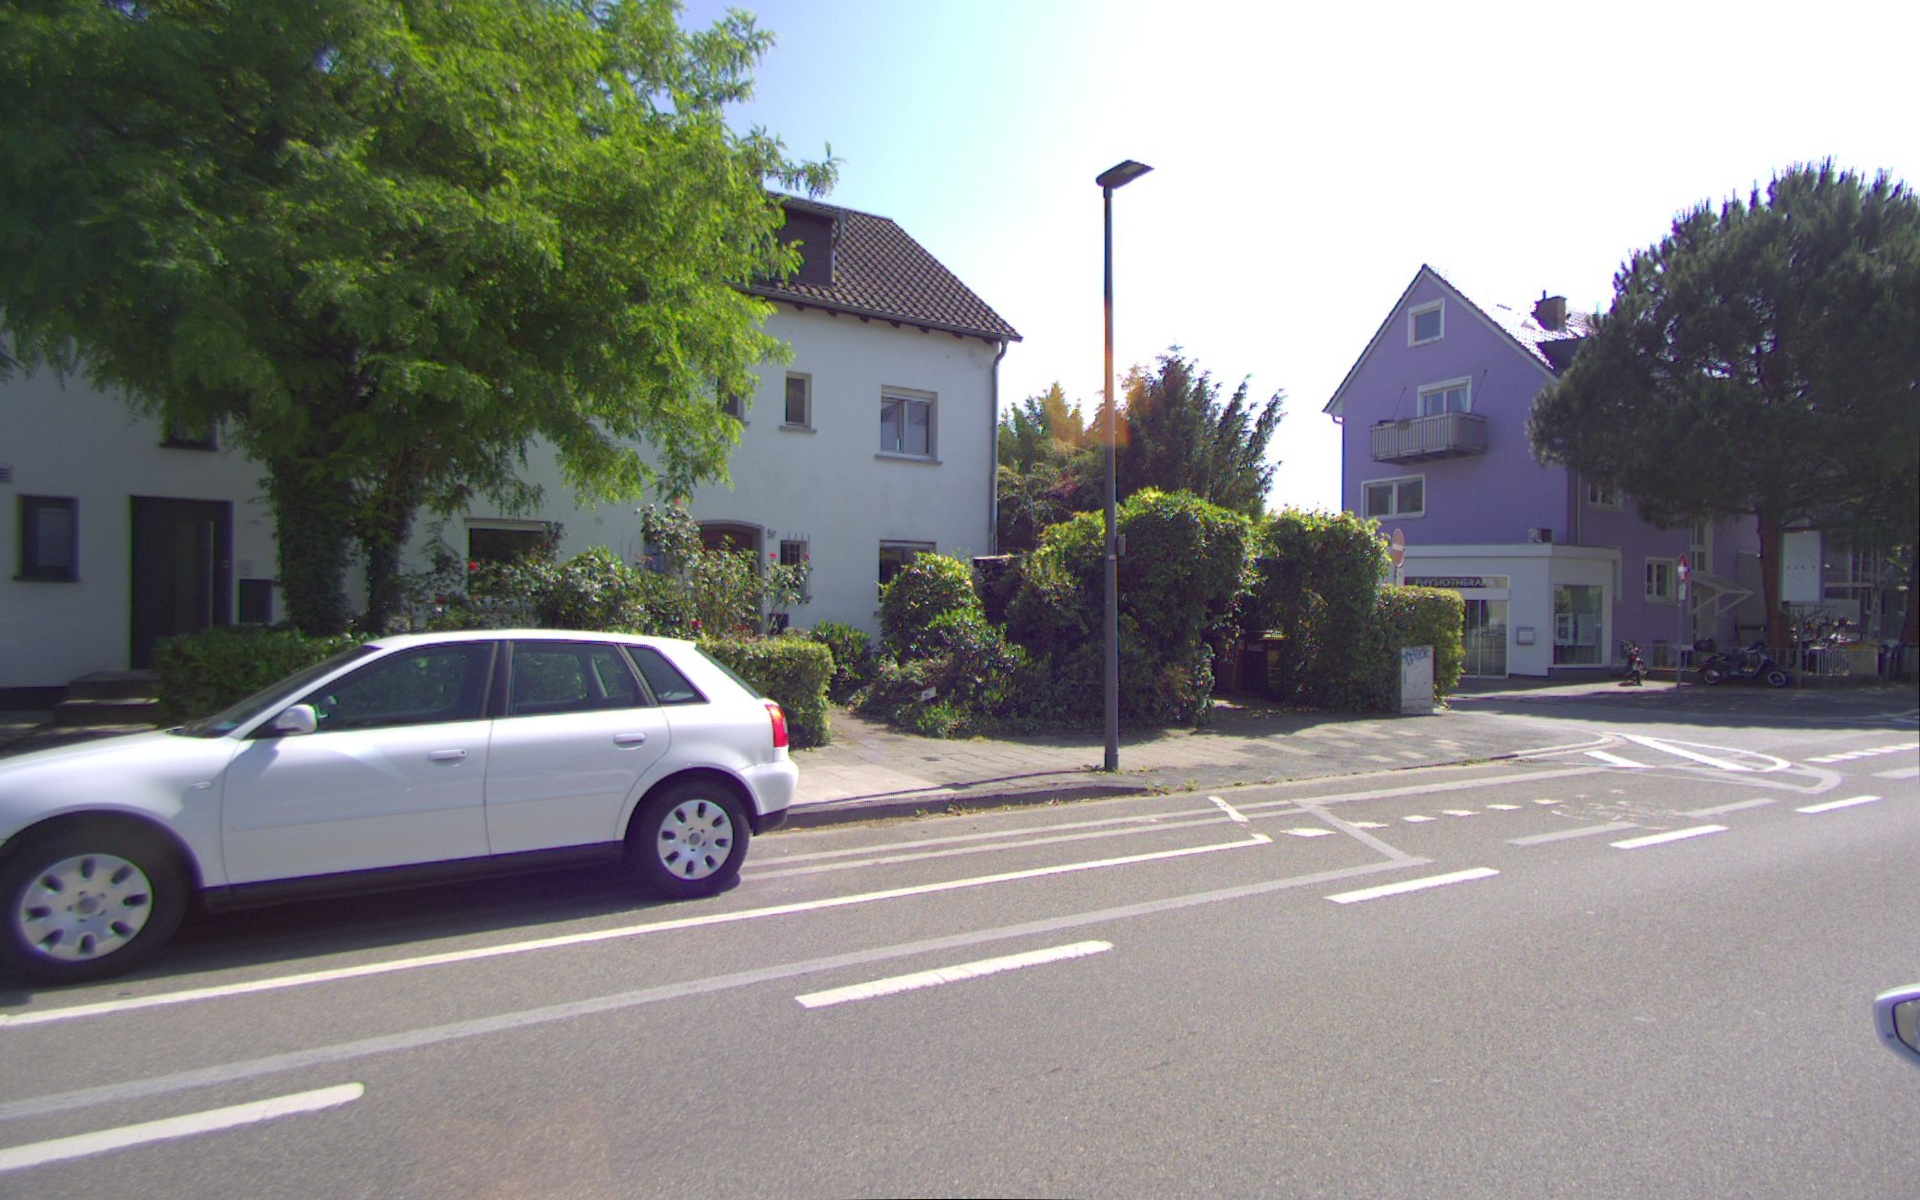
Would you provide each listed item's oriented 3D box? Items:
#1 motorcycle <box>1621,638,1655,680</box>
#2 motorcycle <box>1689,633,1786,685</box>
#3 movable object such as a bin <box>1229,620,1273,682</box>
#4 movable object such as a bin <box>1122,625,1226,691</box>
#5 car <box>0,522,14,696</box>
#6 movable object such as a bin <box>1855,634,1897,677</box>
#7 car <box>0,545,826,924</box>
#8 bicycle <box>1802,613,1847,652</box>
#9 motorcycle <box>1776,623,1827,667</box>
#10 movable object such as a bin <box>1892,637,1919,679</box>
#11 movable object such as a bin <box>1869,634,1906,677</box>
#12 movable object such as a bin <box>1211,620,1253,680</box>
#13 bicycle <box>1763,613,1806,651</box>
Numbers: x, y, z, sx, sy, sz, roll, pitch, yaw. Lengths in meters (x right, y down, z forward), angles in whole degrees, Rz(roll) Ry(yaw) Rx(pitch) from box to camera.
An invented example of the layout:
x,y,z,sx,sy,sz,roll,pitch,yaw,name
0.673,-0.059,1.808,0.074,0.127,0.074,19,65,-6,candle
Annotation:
x,y,z,sx,sy,sz,roll,pitch,yaw,name
17.839,1.524,26.411,0.632,1.004,2.347,1,0,36,motorcycle
19.446,1.458,25.164,0.634,1.197,1.834,2,-1,-24,motorcycle
4.881,0.849,16.857,0.519,1.004,0.484,2,0,-10,movable object such as a bin
3.440,0.921,16.072,1.854,1.004,0.317,2,0,-30,movable object such as a bin
-9.840,0.079,8.310,1.976,1.783,3.969,1,0,-29,car
24.635,1.485,27.016,0.654,1.126,0.603,2,-1,-24,movable object such as a bin
-2.908,0.627,5.436,3.956,1.458,1.776,3,-4,-32,car
27.541,1.038,32.003,1.427,1.197,0.535,2,-1,-25,bicycle
23.706,1.277,28.298,1.427,1.197,0.535,2,-1,-25,motorcycle
26.302,1.597,27.821,0.577,1.126,0.542,2,-1,-24,movable object such as a bin
25.159,1.501,27.248,0.425,1.126,0.603,2,-1,-24,movable object such as a bin
4.706,0.861,17.412,0.519,1.004,0.484,2,0,-10,movable object such as a bin
26.806,1.039,32.647,1.426,1.197,0.535,0,0,-25,bicycle
